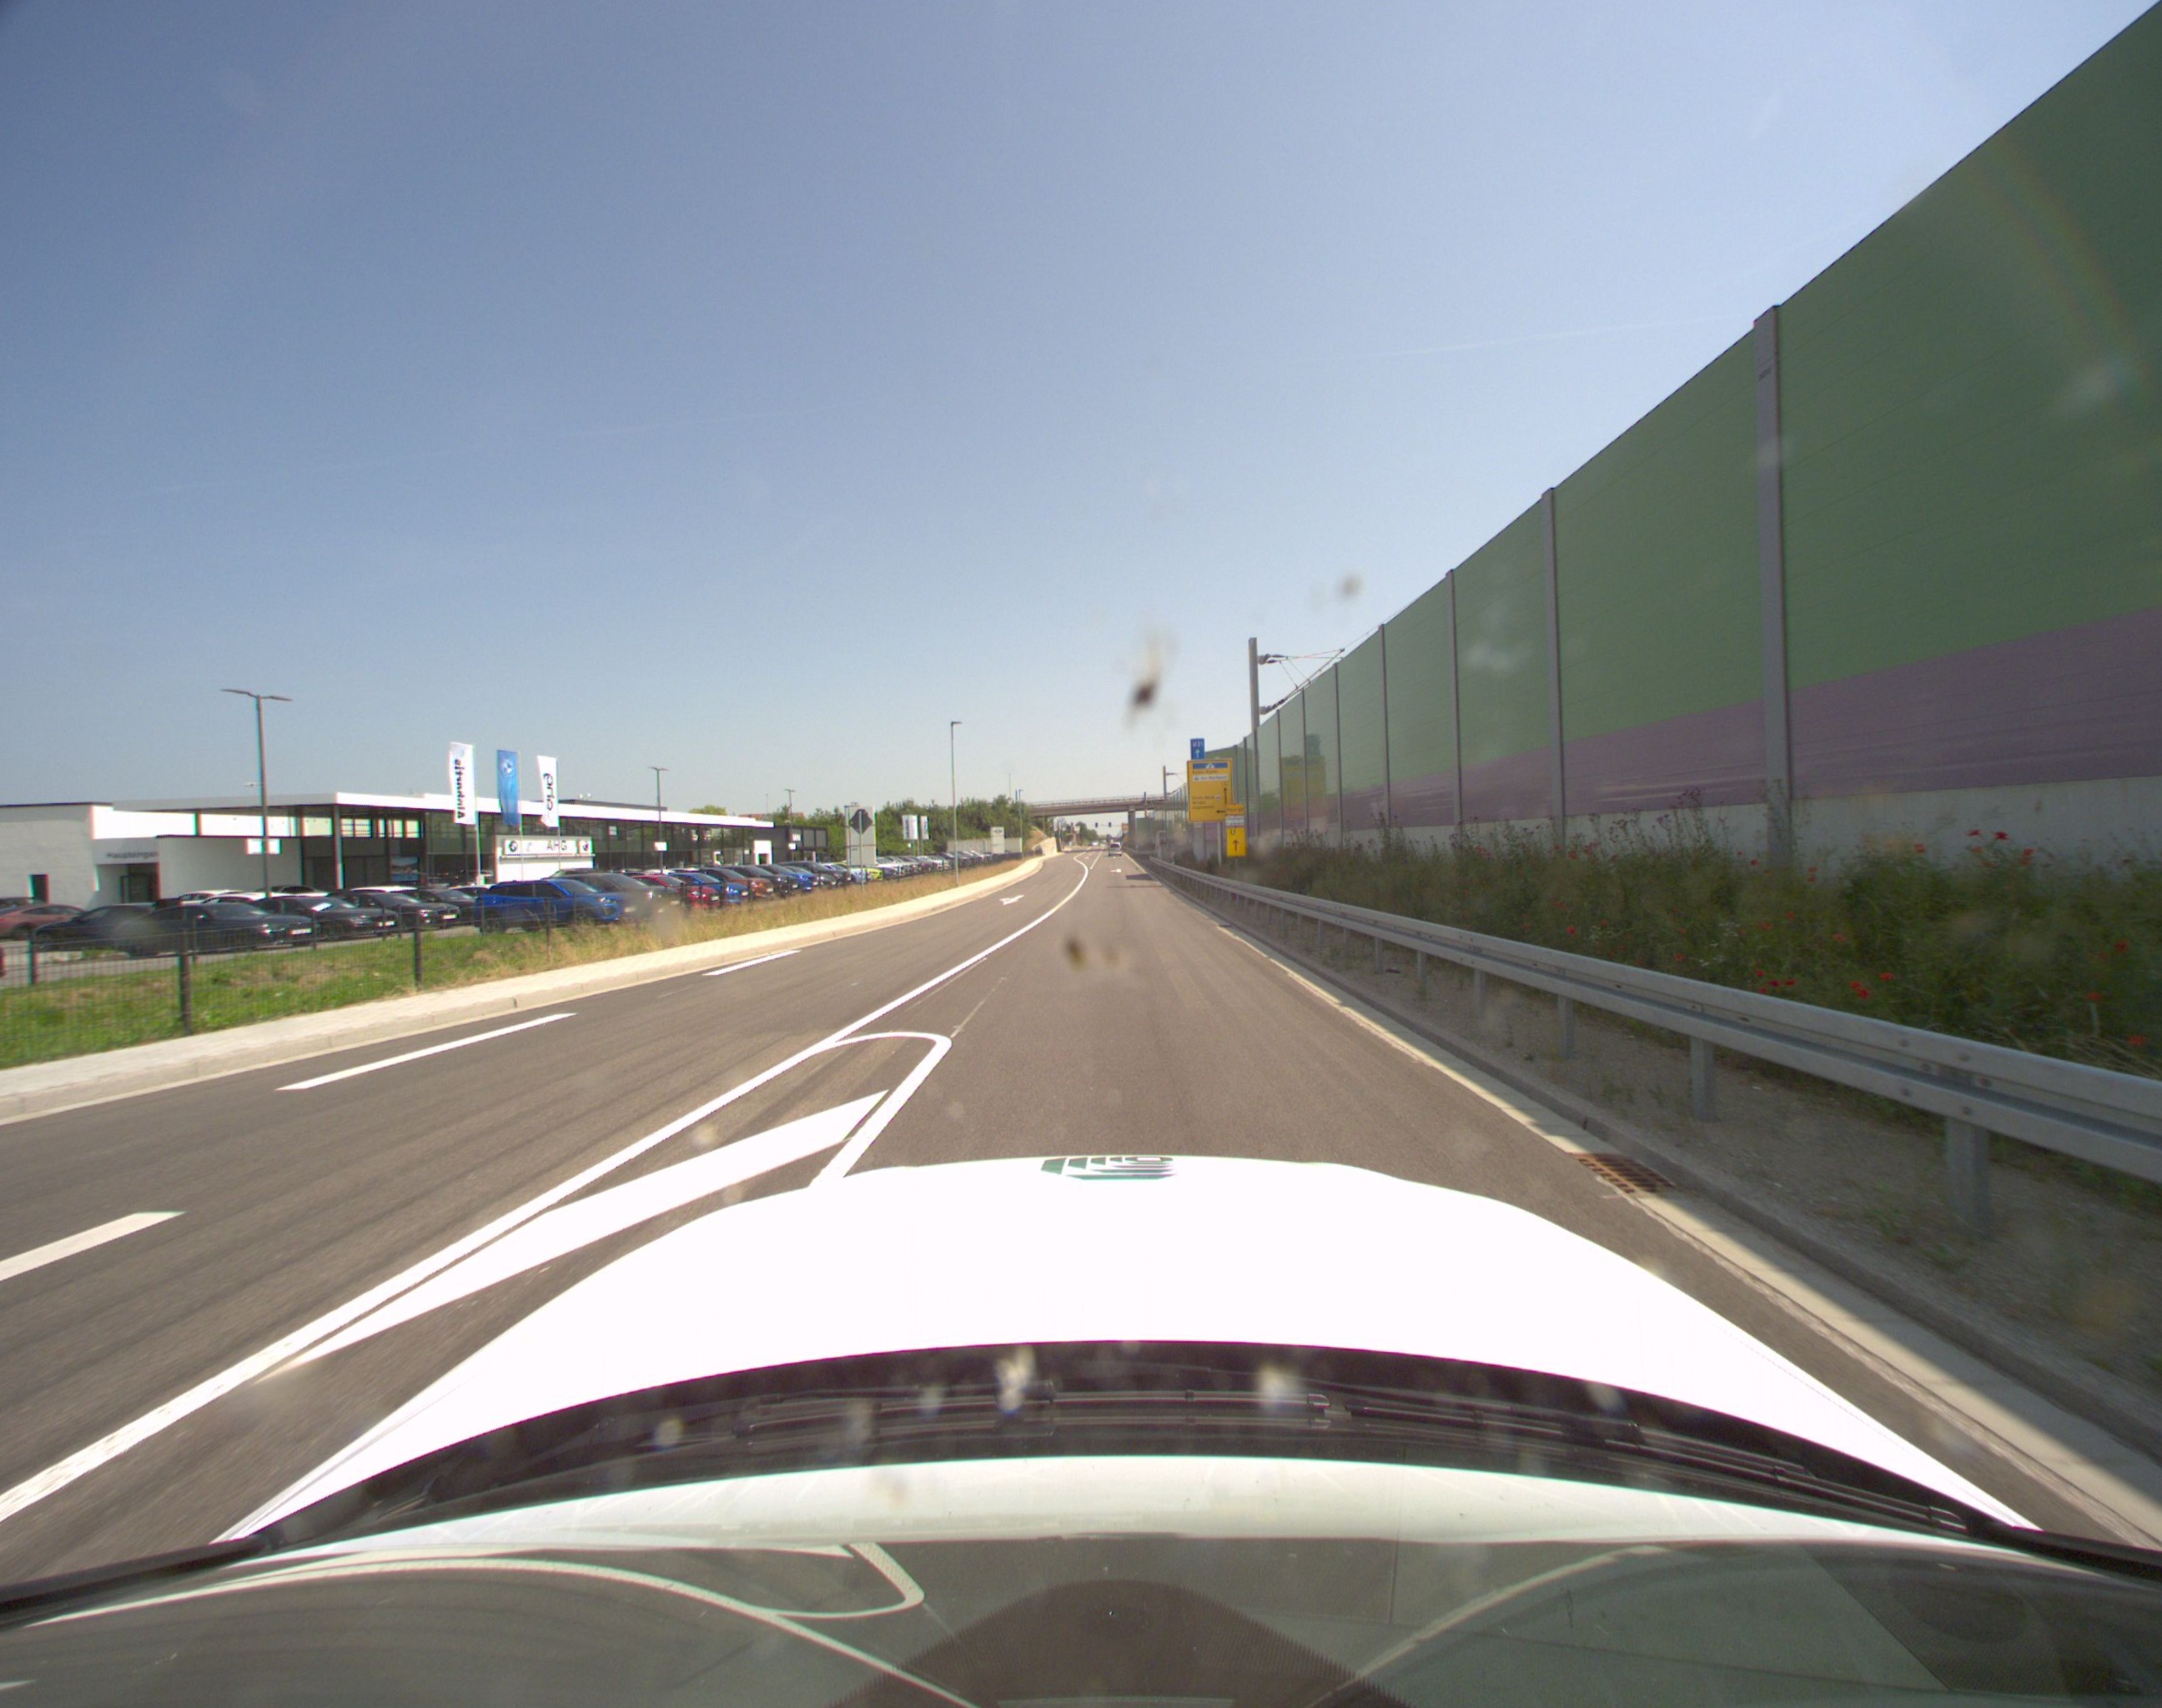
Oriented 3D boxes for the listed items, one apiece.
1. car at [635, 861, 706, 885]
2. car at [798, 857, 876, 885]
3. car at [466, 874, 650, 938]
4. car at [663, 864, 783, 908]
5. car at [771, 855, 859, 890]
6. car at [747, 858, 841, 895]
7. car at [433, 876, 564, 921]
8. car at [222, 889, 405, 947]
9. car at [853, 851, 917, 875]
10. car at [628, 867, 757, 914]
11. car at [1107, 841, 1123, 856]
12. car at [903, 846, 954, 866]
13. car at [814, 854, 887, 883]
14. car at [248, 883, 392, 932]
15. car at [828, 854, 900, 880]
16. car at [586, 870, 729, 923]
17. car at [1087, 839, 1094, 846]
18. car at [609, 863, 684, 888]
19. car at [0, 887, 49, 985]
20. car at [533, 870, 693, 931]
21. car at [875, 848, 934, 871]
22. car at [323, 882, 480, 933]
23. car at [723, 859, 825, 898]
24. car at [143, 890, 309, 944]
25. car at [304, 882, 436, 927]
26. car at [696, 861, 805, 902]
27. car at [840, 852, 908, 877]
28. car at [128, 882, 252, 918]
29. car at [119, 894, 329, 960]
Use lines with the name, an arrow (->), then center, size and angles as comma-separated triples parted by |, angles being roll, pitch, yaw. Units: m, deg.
car -> -29.945, 1.393, 59.429 | 4.148, 1.466, 1.817 | -3, 2, 2
car -> -14.551, 0.997, 48.619 | 3.971, 1.391, 1.880 | -3, 2, 2
car -> -15.037, 1.463, 23.581 | 3.974, 1.480, 1.911 | -3, 2, 0
car -> -14.647, 1.285, 33.496 | 3.974, 1.494, 1.915 | -3, 2, 0
car -> -14.277, 0.990, 43.924 | 3.974, 1.572, 2.054 | -3, 2, 0
car -> -14.434, 1.118, 41.125 | 3.974, 1.534, 1.815 | -3, 2, 0
car -> -24.040, 1.815, 33.716 | 3.974, 1.494, 1.815 | -3, 2, 0
car -> -24.408, 2.010, 26.014 | 3.974, 1.480, 1.815 | -3, 2, 0
car -> -14.296, 0.658, 59.605 | 4.148, 1.466, 1.817 | -3, 2, 2
car -> -14.787, 1.372, 31.179 | 3.974, 1.444, 1.786 | -3, 2, 0
car -> 4.600, -0.752, 108.627 | 1.985, 1.757, 4.005 | -2, 1, 4
car -> -13.593, 0.172, 72.741 | 4.148, 1.544, 1.817 | -3, 2, 2
car -> -14.450, 0.883, 51.234 | 3.971, 1.534, 1.817 | -3, 2, 2
car -> -30.550, 2.134, 32.775 | 3.977, 1.593, 1.676 | -3, 2, -3
car -> -14.326, 0.826, 53.864 | 4.148, 1.466, 1.817 | -3, 2, 2
car -> -14.837, 1.466, 28.705 | 3.974, 1.528, 1.815 | -3, 2, 0
car -> 2.787, -3.401, 241.123 | 1.986, 1.926, 4.002 | -3, 1, 2
car -> -30.260, 1.486, 56.829 | 4.148, 1.466, 1.817 | -3, 2, 2
car -> -20.462, 1.535, 12.943 | 1.947, 1.738, 4.752 | -3, 0, 1
car -> -14.934, 1.457, 26.169 | 3.974, 1.635, 1.815 | -3, 2, 0
car -> -14.013, 0.439, 64.748 | 4.148, 1.544, 1.817 | -3, 2, 2
car -> -24.285, 1.894, 29.225 | 3.974, 1.480, 1.815 | -3, 2, 0
car -> -14.446, 1.133, 38.533 | 3.974, 1.534, 1.972 | -3, 2, 0
car -> -30.924, 2.249, 29.546 | 3.977, 1.593, 1.676 | -3, 2, -3
car -> -30.631, 2.140, 35.184 | 3.974, 1.586, 1.815 | -3, 2, 0
car -> -14.606, 1.204, 36.118 | 3.974, 1.534, 1.815 | -3, 2, 0
car -> -14.404, 0.740, 56.721 | 4.148, 1.466, 1.817 | -3, 2, 2
car -> -44.811, 2.295, 41.023 | 4.317, 1.480, 1.627 | -3, 2, -1
car -> -24.397, 2.045, 23.299 | 3.974, 1.480, 1.815 | -3, 2, 0
